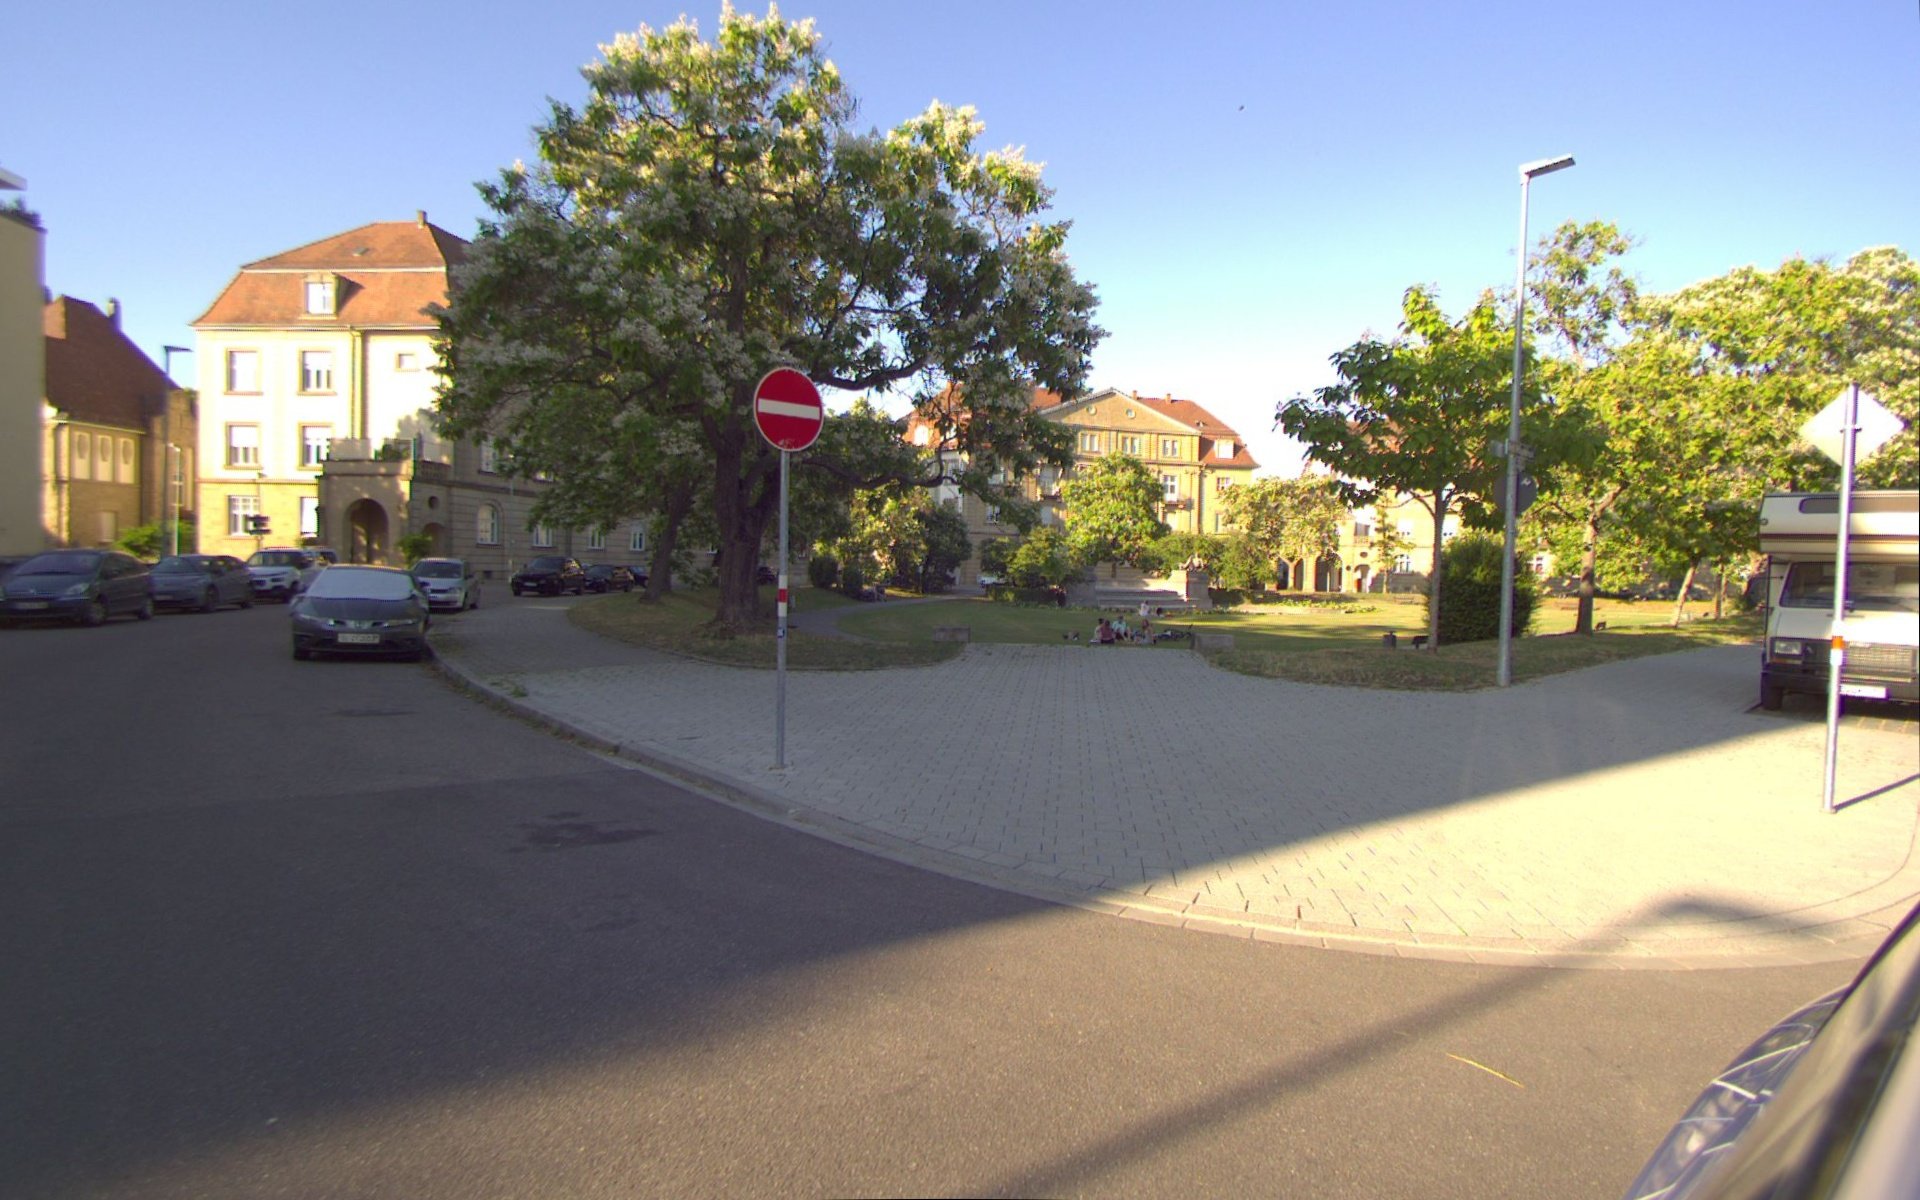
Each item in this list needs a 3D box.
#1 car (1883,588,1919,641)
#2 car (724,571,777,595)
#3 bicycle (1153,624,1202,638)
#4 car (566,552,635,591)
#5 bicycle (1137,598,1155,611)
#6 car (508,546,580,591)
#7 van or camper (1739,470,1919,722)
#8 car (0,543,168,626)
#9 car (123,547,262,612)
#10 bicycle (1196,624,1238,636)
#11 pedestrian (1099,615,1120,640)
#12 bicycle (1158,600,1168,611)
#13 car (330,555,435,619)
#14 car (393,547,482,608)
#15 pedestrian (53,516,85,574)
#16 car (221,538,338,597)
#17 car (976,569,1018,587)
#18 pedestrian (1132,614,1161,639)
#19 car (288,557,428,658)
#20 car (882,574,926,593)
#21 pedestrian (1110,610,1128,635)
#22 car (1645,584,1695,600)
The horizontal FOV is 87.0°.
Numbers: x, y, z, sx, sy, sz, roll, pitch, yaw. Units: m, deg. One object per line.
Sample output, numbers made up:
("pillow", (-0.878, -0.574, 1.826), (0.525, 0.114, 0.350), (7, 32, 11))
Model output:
("car", (29.755, 0.415, 31.037), (1.994, 1.529, 3.936), (1, 1, 45))
("car", (-14.089, -1.132, 68.151), (1.707, 1.517, 3.675), (2, 0, 23))
("bicycle", (7.452, 1.043, 34.661), (1.899, 0.387, 0.658), (-1, 2, -42))
("car", (-17.661, -1.383, 49.841), (1.697, 1.779, 3.697), (1, 0, 7))
("bicycle", (9.904, 0.249, 53.829), (0.890, 0.660, 0.438), (0, 1, 7))
("car", (-17.725, -1.310, 43.273), (1.692, 1.779, 3.707), (1, 0, -3))
("van or camper", (12.531, -0.125, 13.658), (2.423, 2.816, 5.858), (5, 4, 44))
("car", (-18.880, -0.370, 21.705), (1.671, 1.596, 4.057), (-2, 2, -19))
("car", (-20.609, -0.586, 27.372), (1.671, 1.596, 4.057), (-2, 2, -18))
("bicycle", (9.128, 1.050, 35.897), (1.674, 0.323, 0.658), (-1, 2, -42))
("pedestrian", (4.757, 0.878, 32.203), (0.496, 0.756, 0.448), (1, 1, 41))
("bicycle", (10.788, 0.286, 53.725), (0.479, 0.590, 0.438), (0, 1, 7))
("car", (-13.056, -0.289, 23.061), (1.690, 1.313, 3.711), (1, 0, -24))
("car", (-15.393, -0.654, 29.997), (1.690, 1.648, 3.712), (1, 0, -18))
("pedestrian", (-24.787, -1.523, 28.161), (0.496, 1.612, 0.527), (0, 0, -16))
("car", (-22.337, -1.033, 33.397), (1.672, 1.818, 4.054), (0, 1, -9))
("car", (3.395, -2.042, 92.663), (3.636, 1.517, 1.725), (1, 0, -38))
("pedestrian", (5.965, 0.853, 32.368), (0.794, 0.774, 0.499), (1, 1, -5))
("car", (-9.723, 0.086, 16.586), (1.691, 1.445, 4.006), (1, 0, -27))
("car", (-4.700, -1.386, 85.737), (1.764, 1.603, 3.952), (1, 1, 33))
("pedestrian", (5.418, 0.755, 34.541), (0.488, 0.845, 0.455), (0, 1, -11))
("car", (68.021, -0.748, 96.996), (3.670, 1.517, 1.710), (1, 1, 28))
